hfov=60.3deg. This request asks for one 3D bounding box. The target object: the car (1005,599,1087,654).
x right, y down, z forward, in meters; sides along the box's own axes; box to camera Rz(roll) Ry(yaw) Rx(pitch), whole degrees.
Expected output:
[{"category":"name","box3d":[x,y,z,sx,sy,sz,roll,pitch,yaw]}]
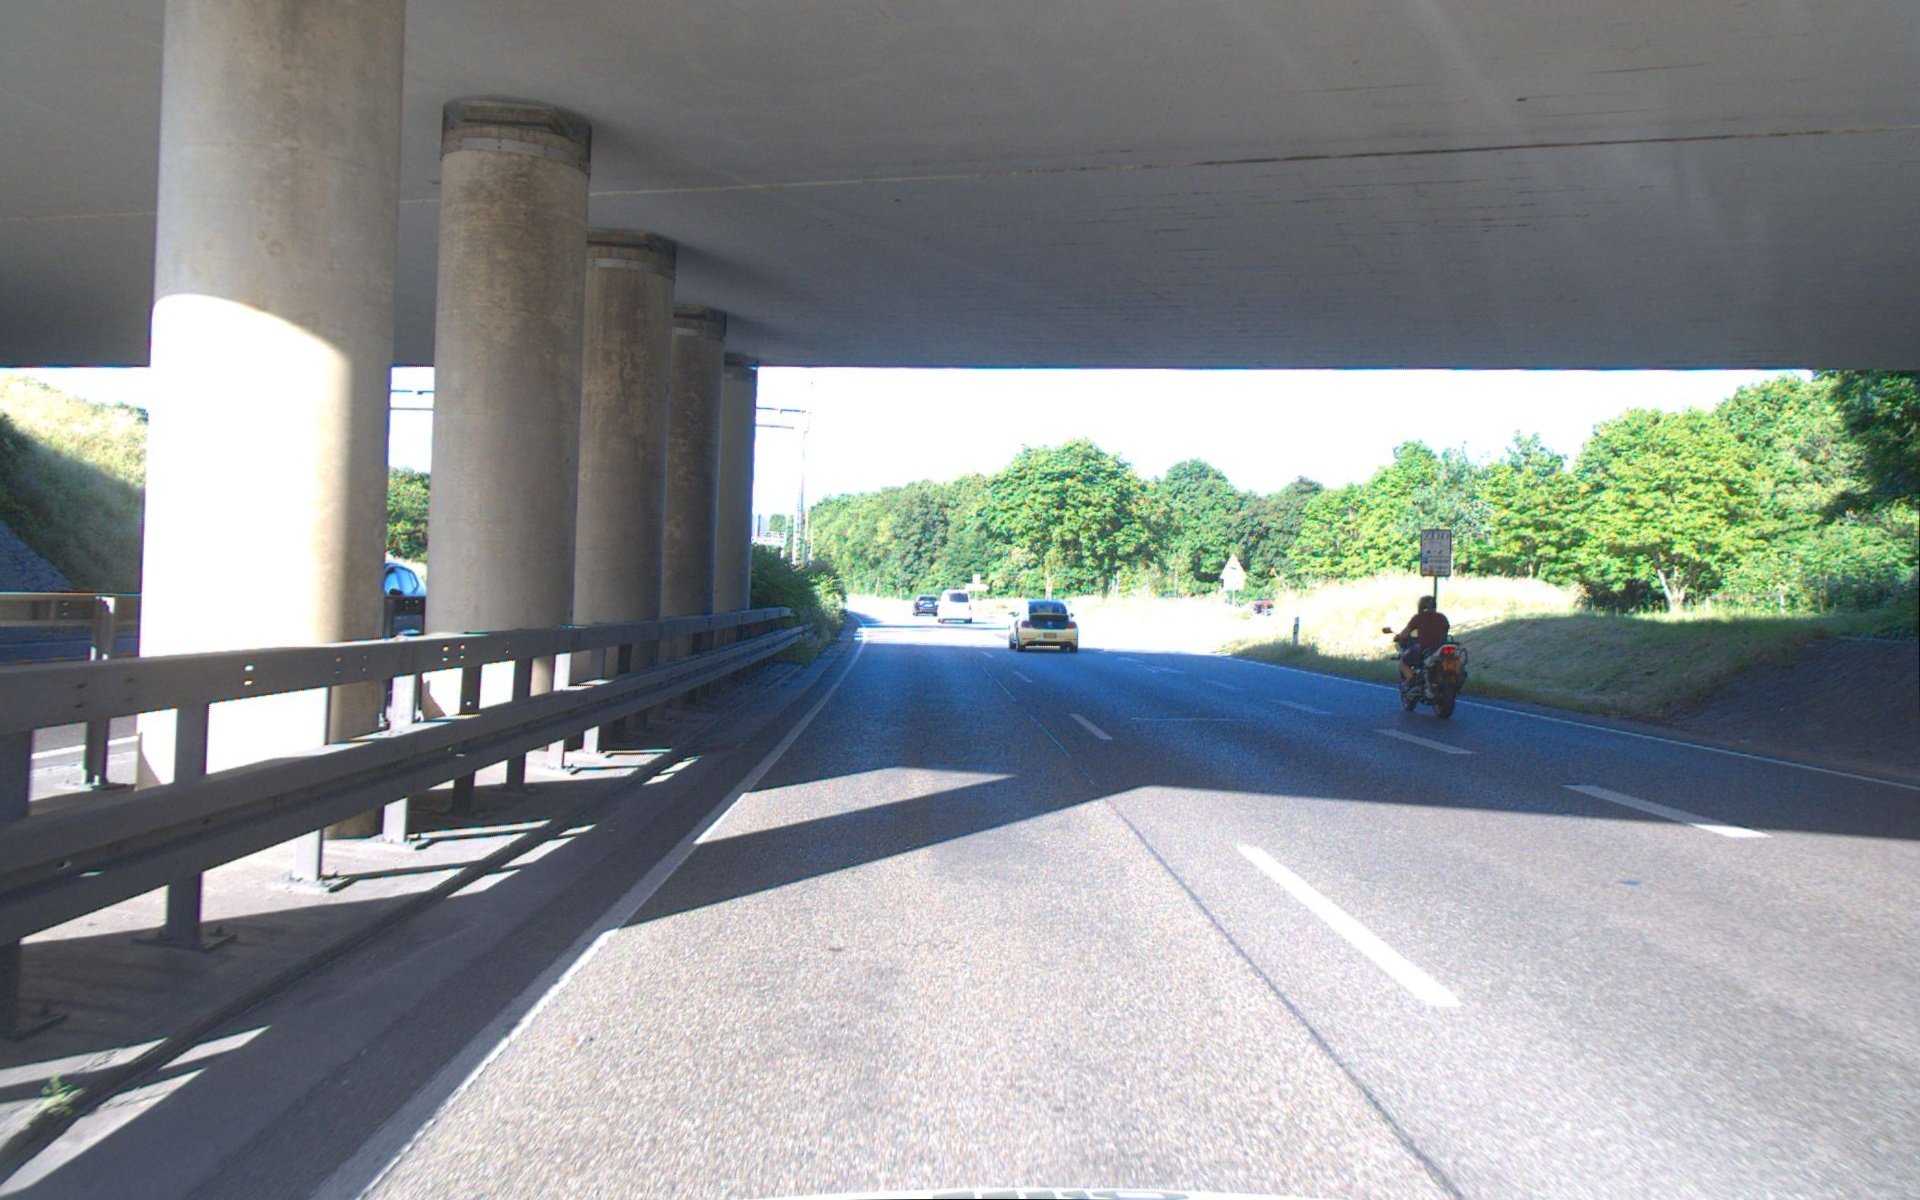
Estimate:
[{"category":"car","box3d":[2.472,0.749,48.456,1.860,1.496,3.996,0,0,-5]}]

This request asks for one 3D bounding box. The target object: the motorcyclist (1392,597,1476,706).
[{"category":"motorcyclist","box3d":[6.647,0.706,23.227,0.800,1.473,1.093,1,0,-3]}]

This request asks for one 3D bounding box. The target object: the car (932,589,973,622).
[{"category":"car","box3d":[-0.437,0.307,91.739,1.860,1.798,3.995,0,-1,-6]}]

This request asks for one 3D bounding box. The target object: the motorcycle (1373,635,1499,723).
[{"category":"motorcycle","box3d":[6.636,1.076,23.241,0.800,1.088,2.834,1,0,-3]}]

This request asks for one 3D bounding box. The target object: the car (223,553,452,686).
[{"category":"car","box3d":[-8.269,0.242,22.342,1.701,1.601,3.998,1,0,-3]}]

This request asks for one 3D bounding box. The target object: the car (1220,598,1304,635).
[{"category":"car","box3d":[18.625,1.038,102.125,4.699,2.059,2.022,2,-3,-8]}]

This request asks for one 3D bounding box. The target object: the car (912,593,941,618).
[{"category":"car","box3d":[-2.414,0.375,118.309,1.860,1.798,3.996,0,0,-5]}]
